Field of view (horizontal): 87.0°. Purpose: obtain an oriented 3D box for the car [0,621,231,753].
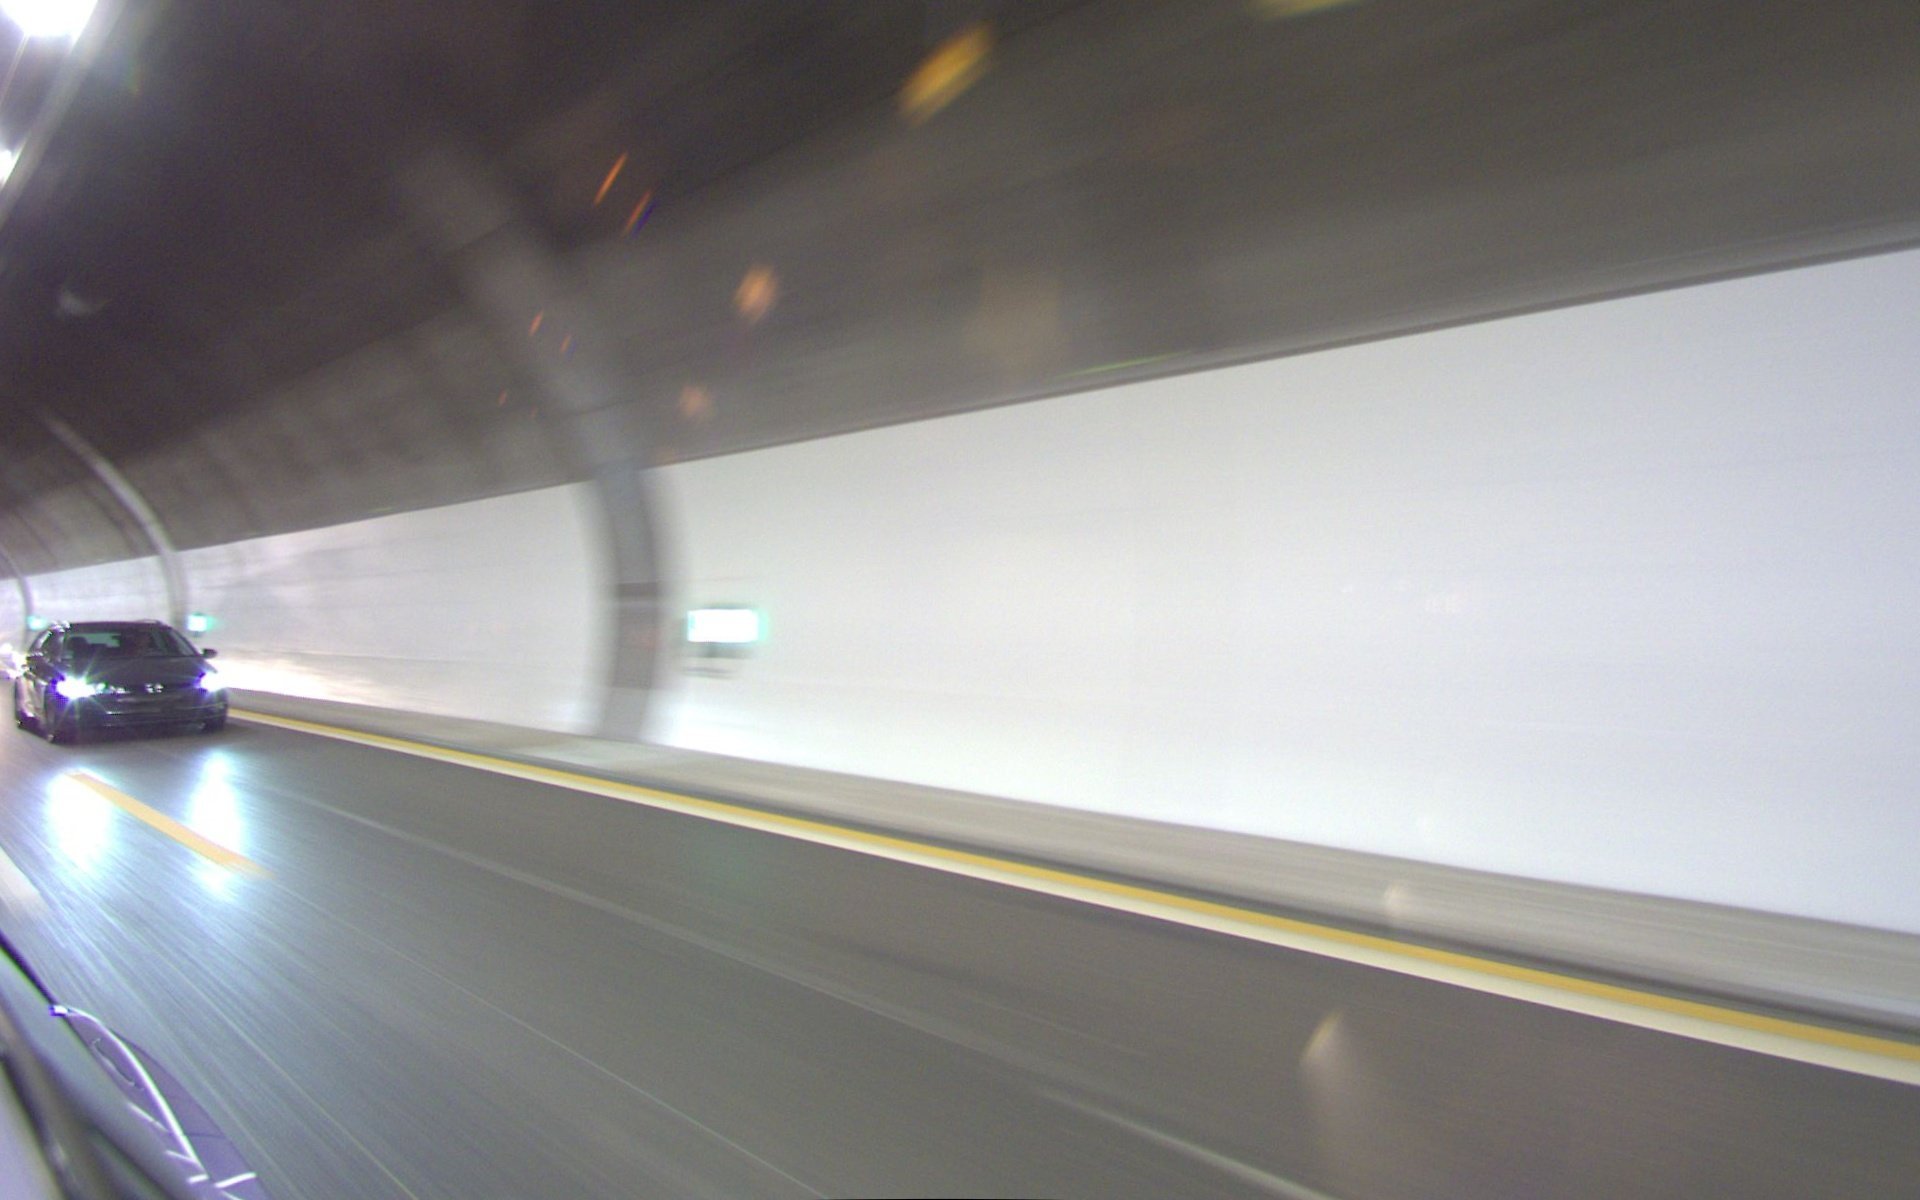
[{"bbox_3d":[-11.602,1.050,13.720,4.881,1.449,1.759,-2,-1,42],"label":"car"}]
